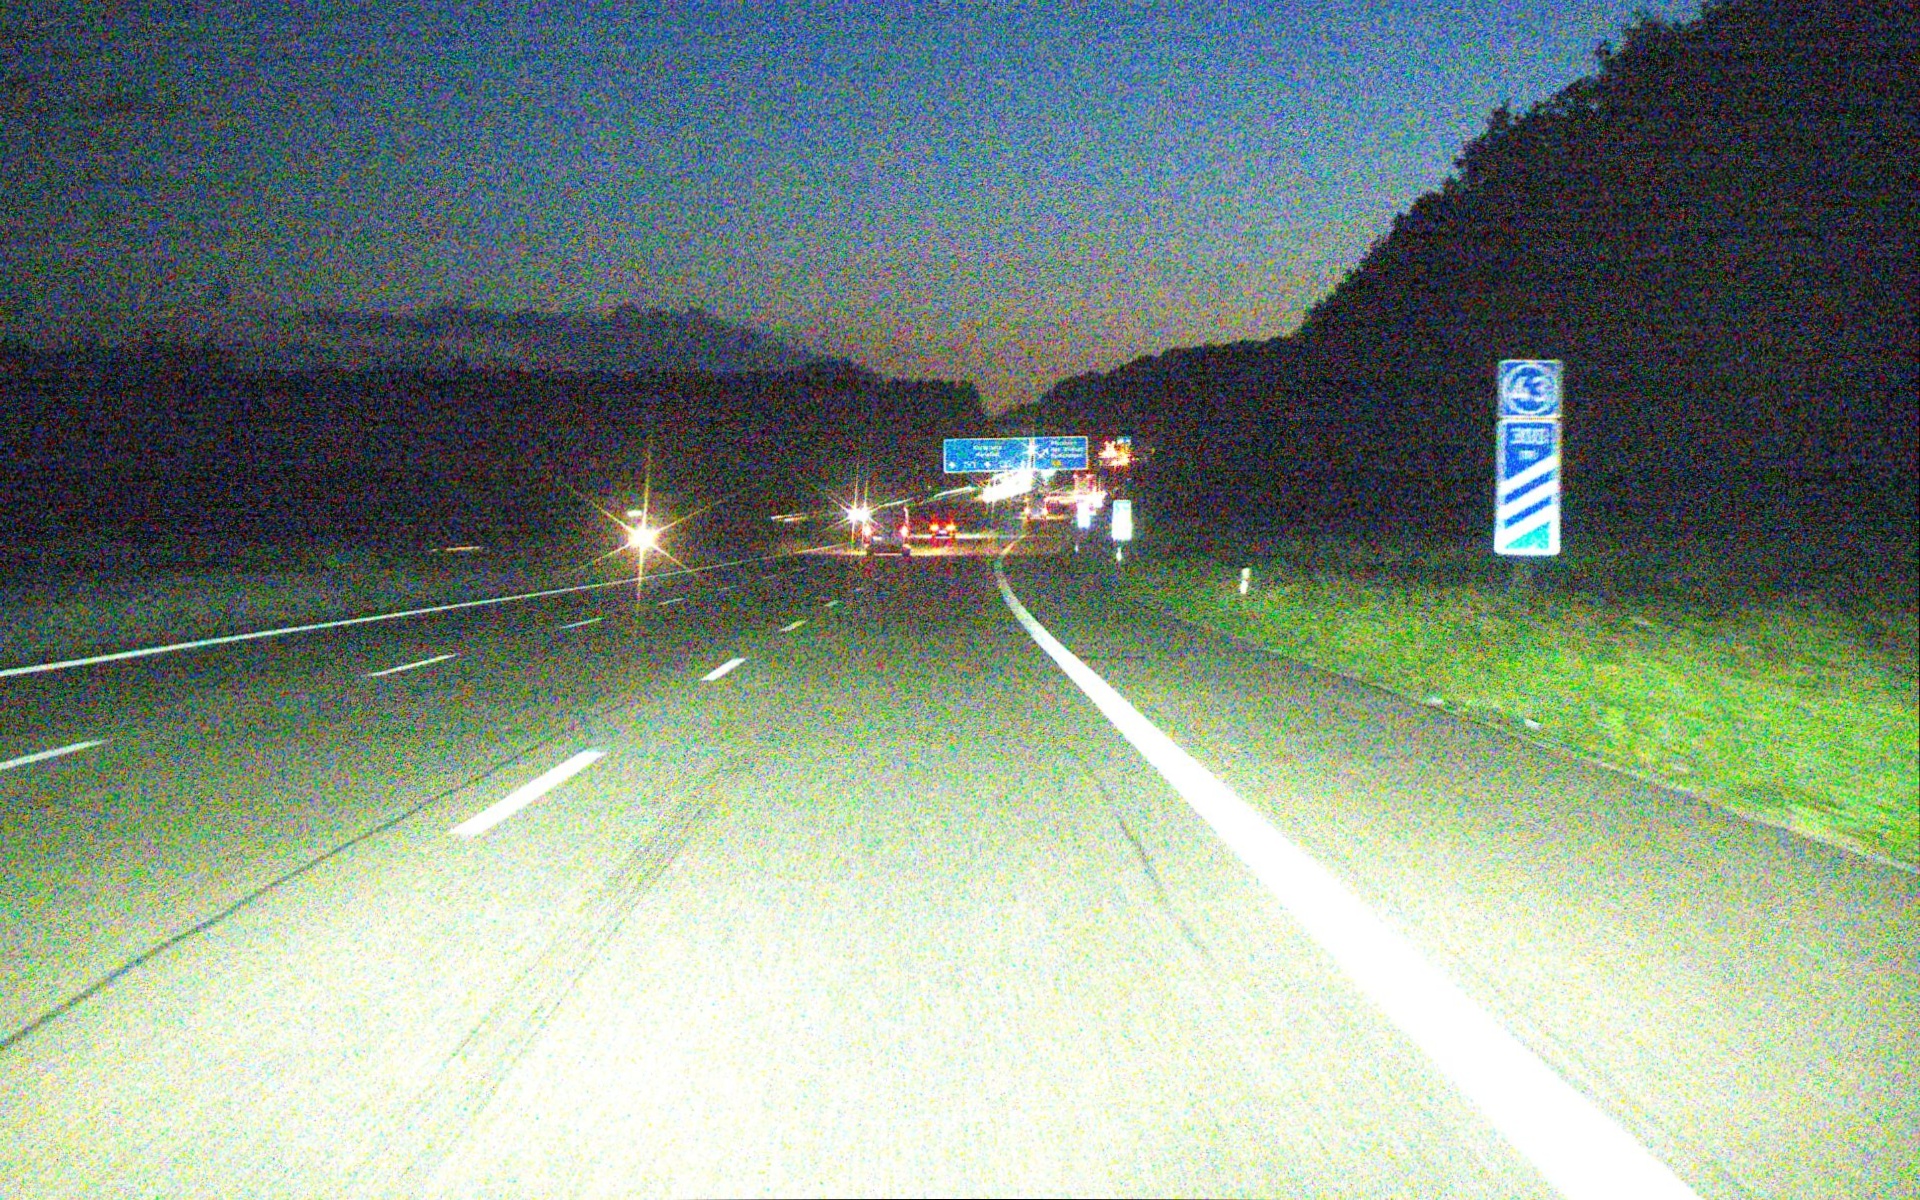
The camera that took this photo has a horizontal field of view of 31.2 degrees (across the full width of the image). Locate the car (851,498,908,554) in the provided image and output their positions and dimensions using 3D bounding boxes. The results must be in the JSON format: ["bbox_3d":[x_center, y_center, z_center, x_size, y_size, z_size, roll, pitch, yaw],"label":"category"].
[{"bbox_3d":[-3.980,-3.672,171.275,2.786,2.724,6.300,0,1,-1],"label":"car"}]

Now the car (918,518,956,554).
[{"bbox_3d":[-1.727,-4.882,263.571,2.786,2.724,6.299,0,1,1],"label":"car"}]
